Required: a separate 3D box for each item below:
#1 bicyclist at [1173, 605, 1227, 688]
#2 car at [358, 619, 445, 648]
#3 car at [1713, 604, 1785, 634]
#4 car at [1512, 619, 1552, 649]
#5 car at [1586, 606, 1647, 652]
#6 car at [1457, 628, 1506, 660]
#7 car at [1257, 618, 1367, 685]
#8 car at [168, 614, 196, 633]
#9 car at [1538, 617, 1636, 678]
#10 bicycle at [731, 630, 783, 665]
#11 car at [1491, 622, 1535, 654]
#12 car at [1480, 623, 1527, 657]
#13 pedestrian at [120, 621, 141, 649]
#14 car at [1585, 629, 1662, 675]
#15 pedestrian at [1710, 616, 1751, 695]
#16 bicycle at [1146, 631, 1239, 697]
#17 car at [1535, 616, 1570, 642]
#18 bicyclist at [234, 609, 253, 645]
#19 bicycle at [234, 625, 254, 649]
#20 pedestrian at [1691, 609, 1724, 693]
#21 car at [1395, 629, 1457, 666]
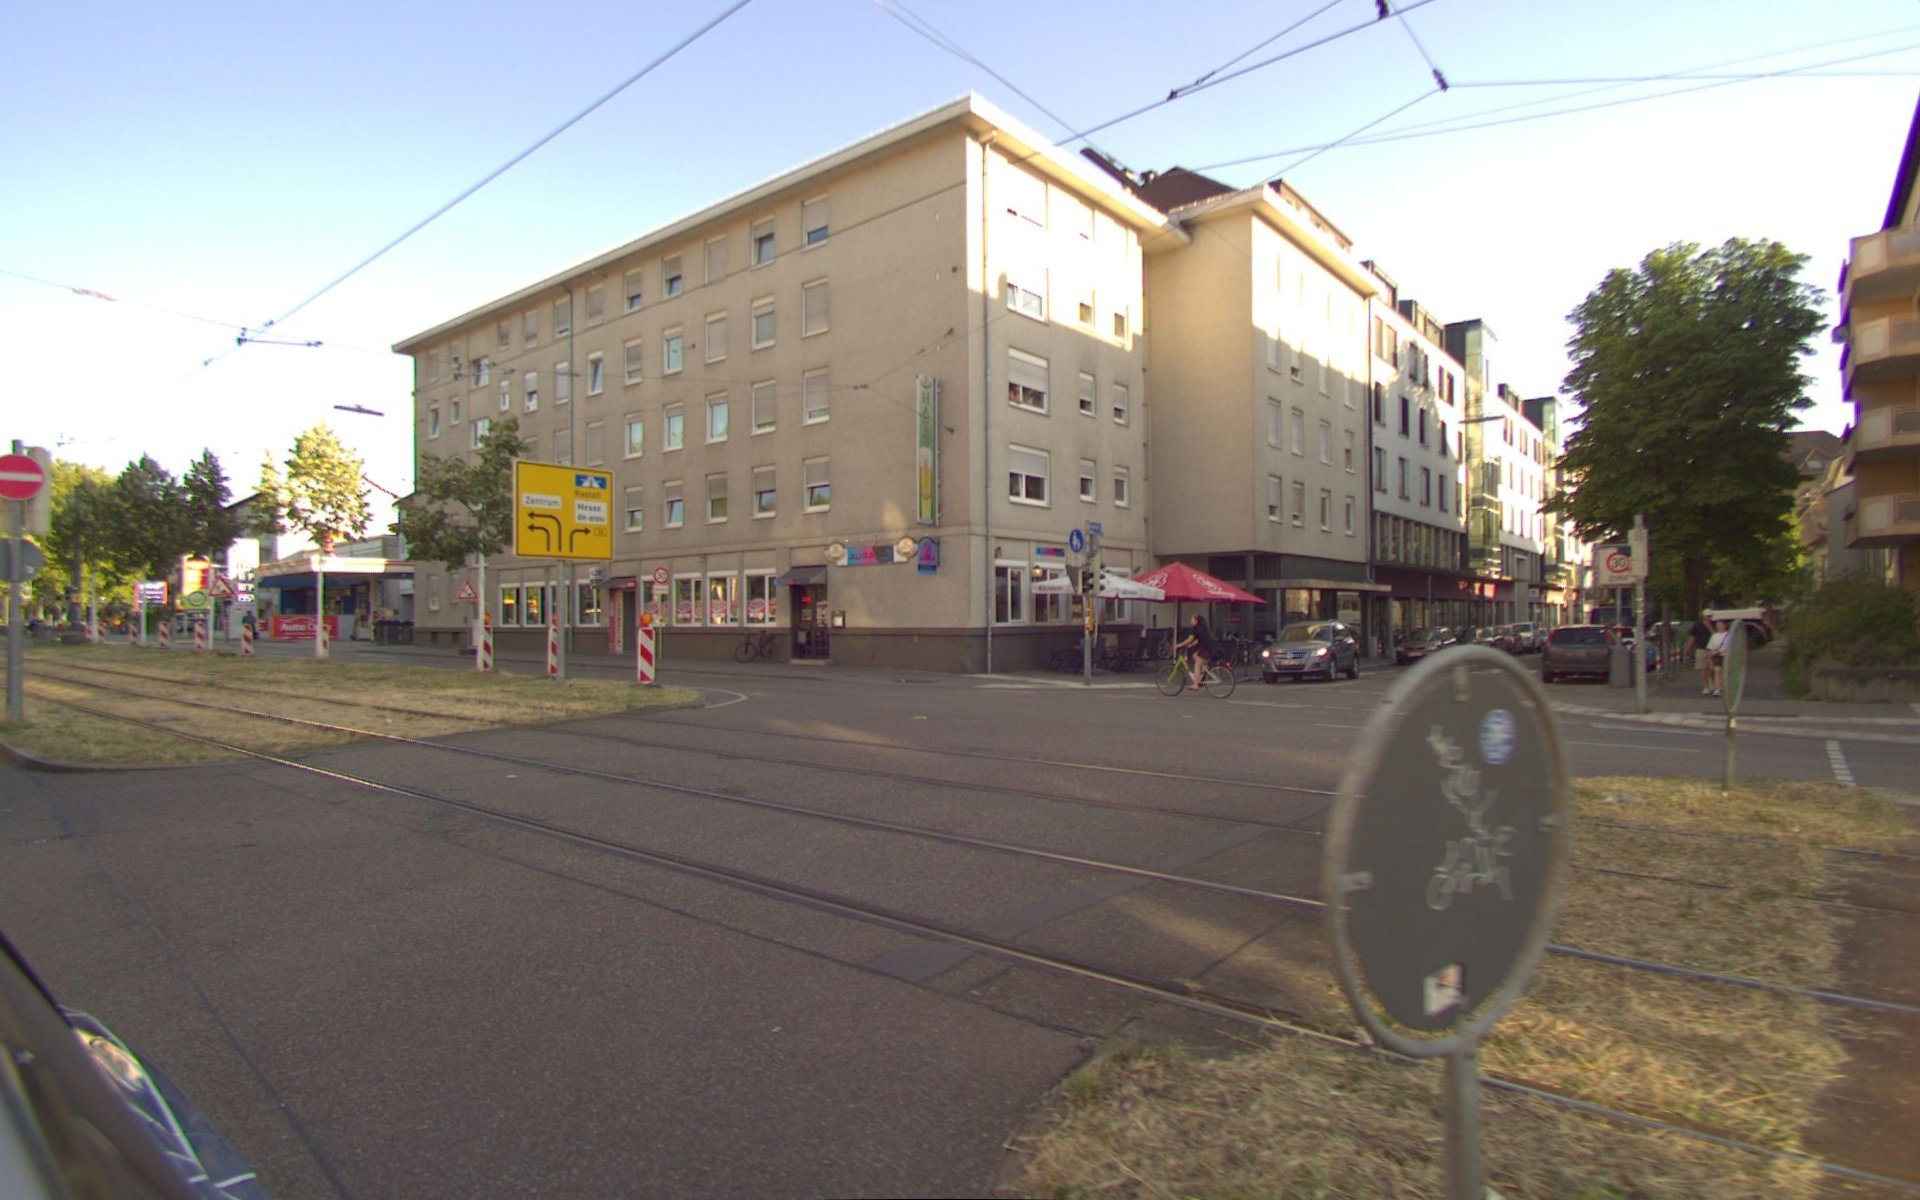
[{"bbox_3d":[4.771,0.912,20.121,0.618,1.598,0.810,0,-1,-43],"label":"bicyclist"},{"bbox_3d":[-30.378,1.822,55.108,1.906,1.480,3.681,-3,-3,39],"label":"car"},{"bbox_3d":[49.326,1.161,63.277,3.485,1.809,1.680,-1,0,41],"label":"car"},{"bbox_3d":[33.774,1.969,59.746,1.632,1.585,3.494,-1,0,37],"label":"car"},{"bbox_3d":[30.529,1.293,46.988,1.998,2.029,3.948,-1,0,39],"label":"car"},{"bbox_3d":[24.121,2.015,46.761,1.430,1.286,3.313,-1,0,38],"label":"car"},{"bbox_3d":[9.654,1.336,27.562,1.993,1.636,4.153,-1,-1,32],"label":"car"},{"bbox_3d":[-70.105,2.105,91.182,1.756,1.567,4.006,-1,1,-41],"label":"car"},{"bbox_3d":[16.364,1.211,26.471,1.993,1.453,3.957,-2,-2,32],"label":"car"},{"bbox_3d":[-6.434,1.486,32.005,1.843,1.031,0.601,-1,0,40],"label":"bicycle"},{"bbox_3d":[30.557,2.047,55.885,1.632,1.585,3.494,-1,0,37],"label":"car"},{"bbox_3d":[27.986,2.028,52.088,1.632,1.585,3.494,-1,0,37],"label":"car"},{"bbox_3d":[-37.655,1.585,45.940,0.580,1.280,0.655,-2,-1,41],"label":"pedestrian"},{"bbox_3d":[21.220,1.614,32.330,1.771,1.273,3.266,-1,0,39],"label":"car"},{"bbox_3d":[15.527,1.110,20.383,0.542,1.564,0.516,-1,-2,-44],"label":"pedestrian"},{"bbox_3d":[4.639,1.265,20.308,0.449,1.267,1.873,0,-2,-42],"label":"bicycle"},{"bbox_3d":[39.414,1.917,67.264,1.632,1.585,3.494,-1,0,37],"label":"car"},{"bbox_3d":[-38.843,1.458,54.885,0.808,1.897,0.644,-1,-2,41],"label":"bicyclist"},{"bbox_3d":[-38.859,1.994,54.900,1.870,1.267,0.450,-2,-2,41],"label":"bicycle"},{"bbox_3d":[15.670,1.050,21.219,0.583,1.718,0.463,-1,0,-44],"label":"pedestrian"},{"bbox_3d":[18.597,1.857,40.358,1.503,1.321,3.092,-1,0,40],"label":"car"}]
